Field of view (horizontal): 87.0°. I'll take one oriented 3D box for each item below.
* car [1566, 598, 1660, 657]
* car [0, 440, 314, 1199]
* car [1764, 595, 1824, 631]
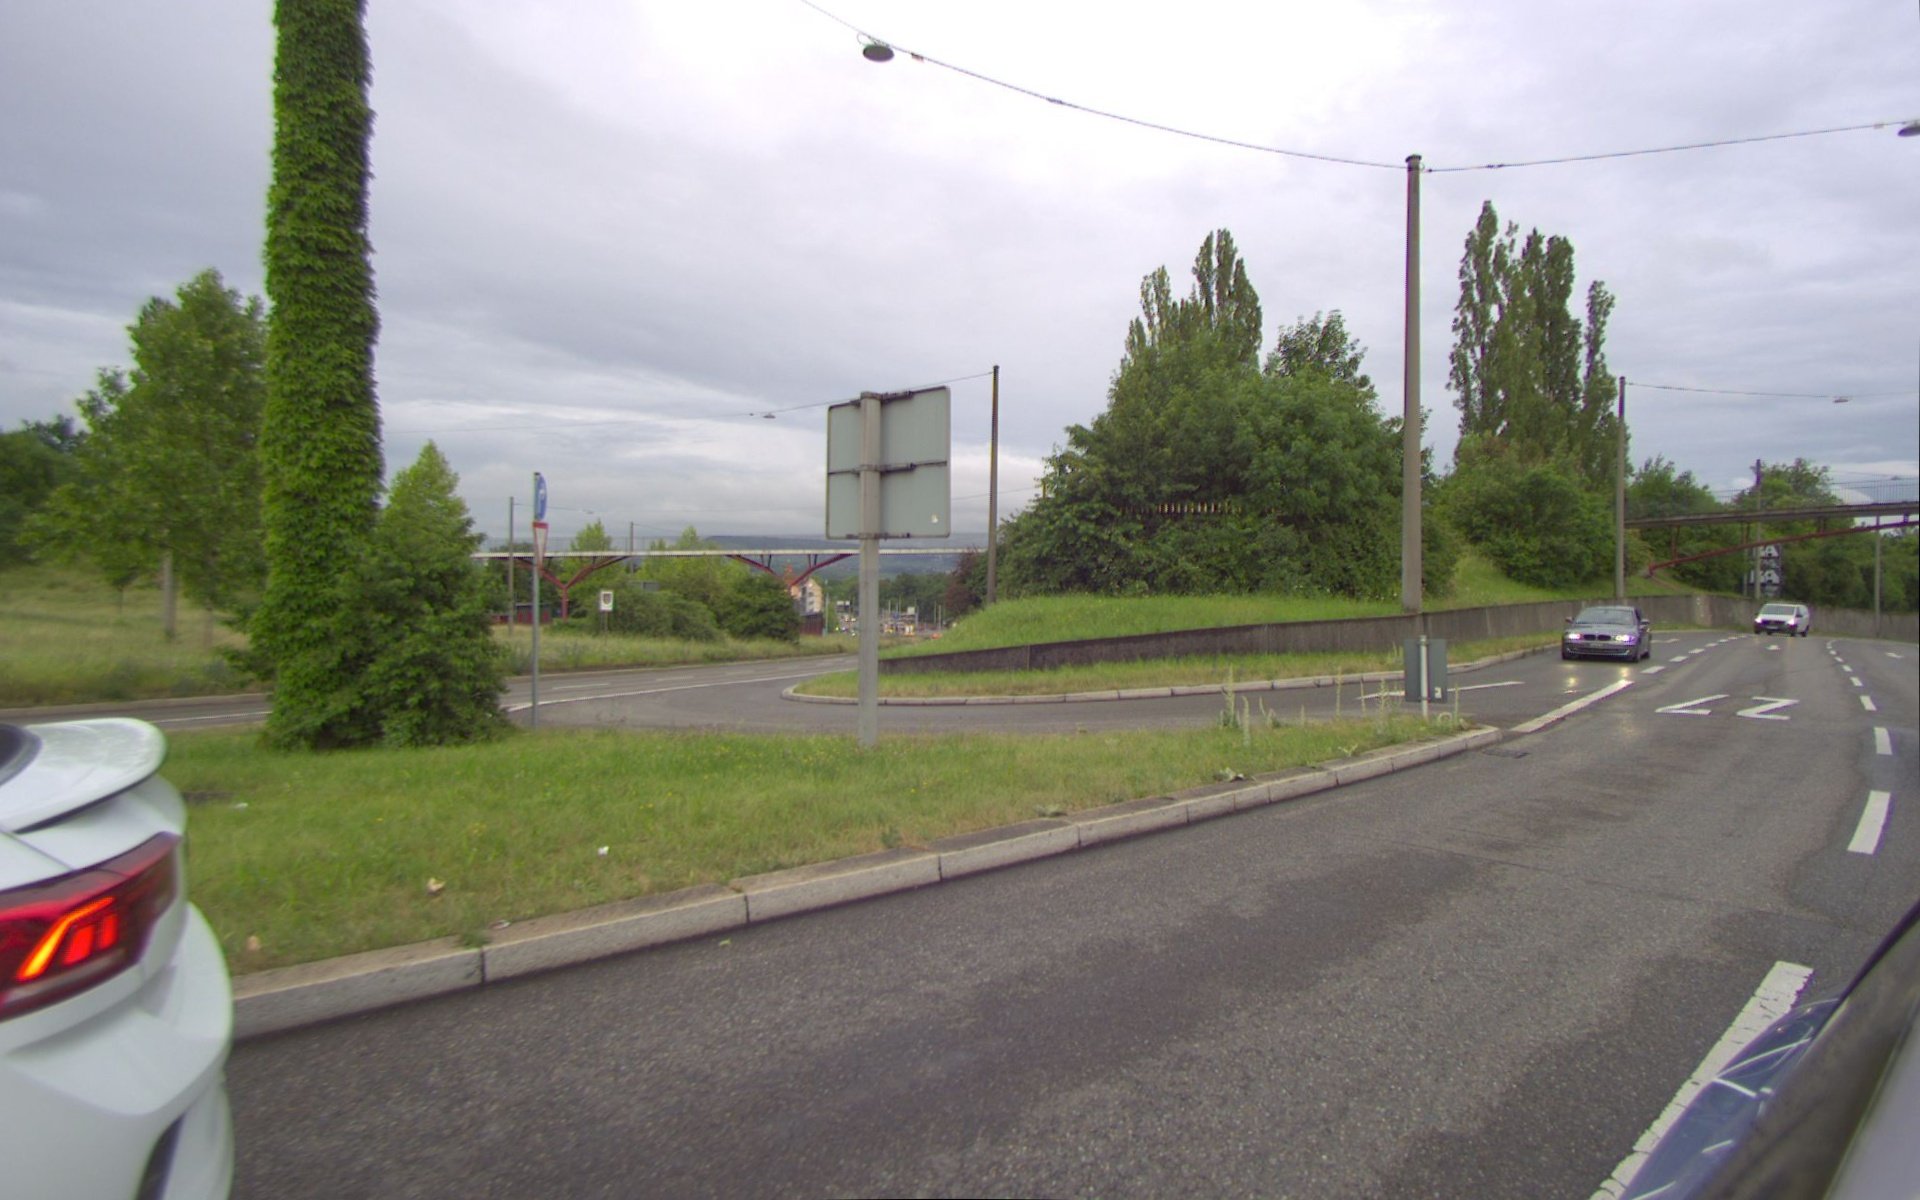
[{"bbox_3d":[17.391,0.714,26.876,1.677,1.438,4.023,-1,-1,39],"label":"car"},{"bbox_3d":[-3.050,0.598,0.723,4.157,1.572,1.715,-1,0,-42],"label":"car"},{"bbox_3d":[48.600,0.727,58.941,4.741,1.871,1.997,-1,3,-42],"label":"car"}]
